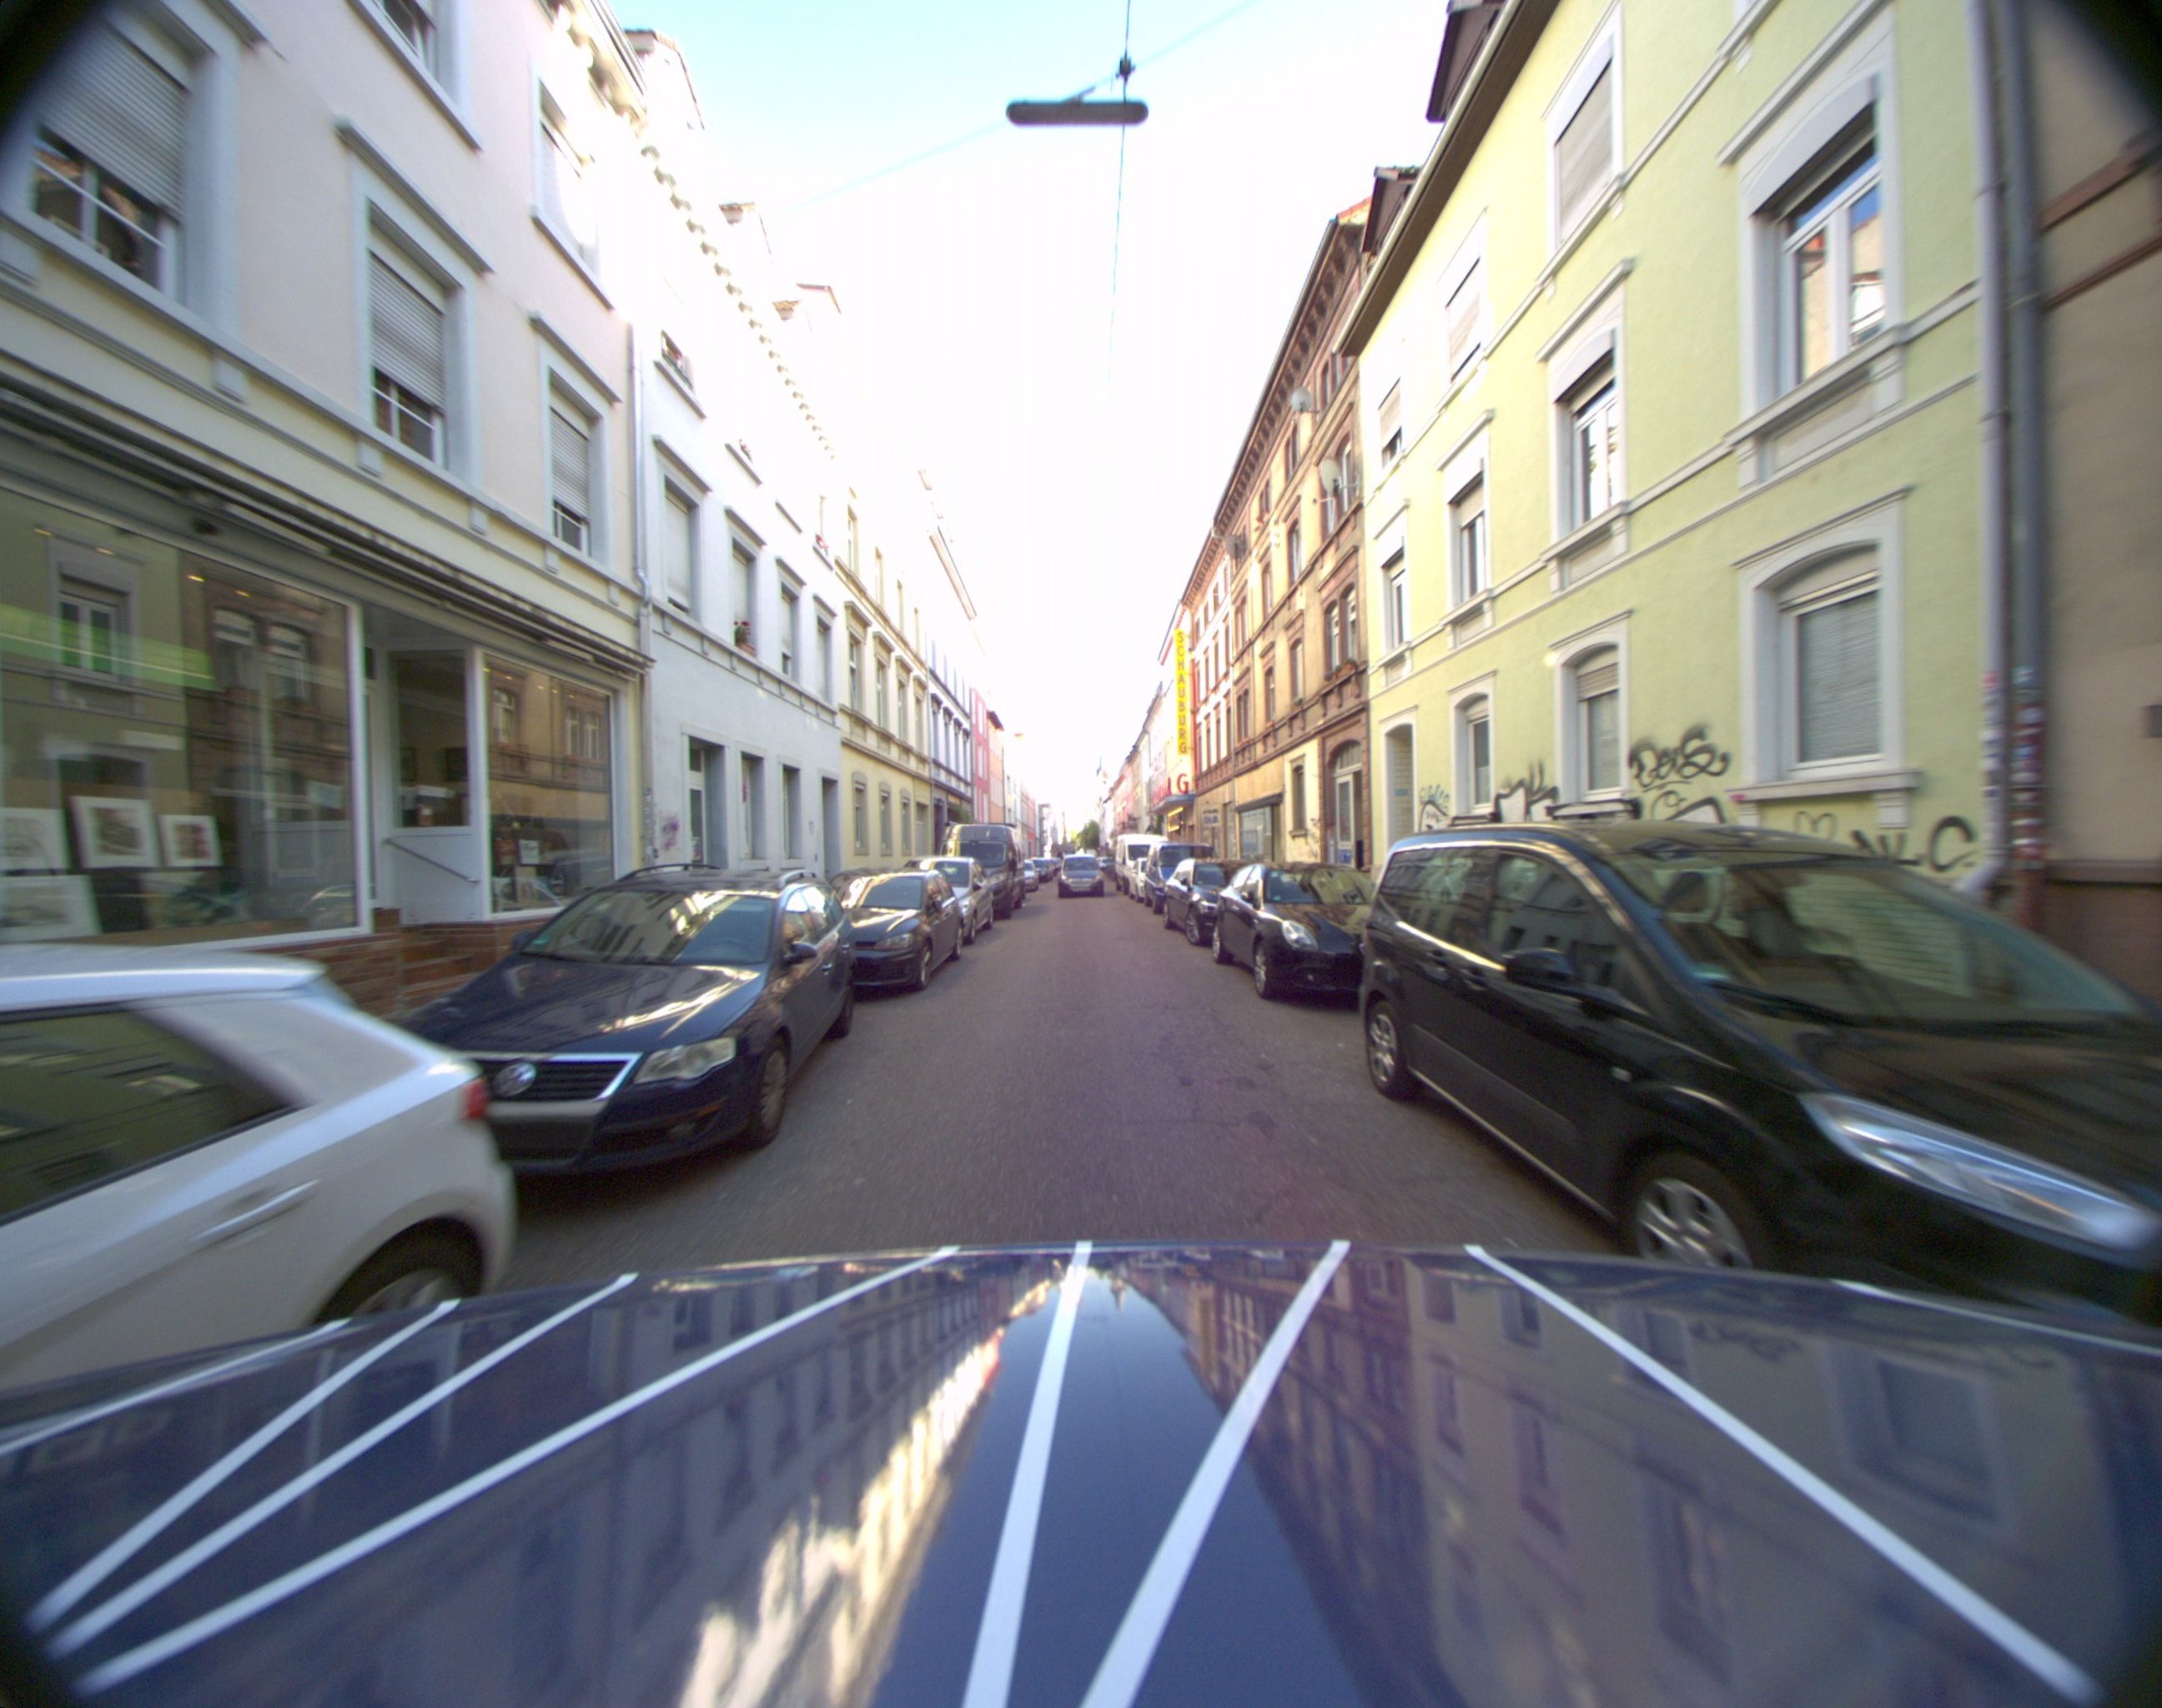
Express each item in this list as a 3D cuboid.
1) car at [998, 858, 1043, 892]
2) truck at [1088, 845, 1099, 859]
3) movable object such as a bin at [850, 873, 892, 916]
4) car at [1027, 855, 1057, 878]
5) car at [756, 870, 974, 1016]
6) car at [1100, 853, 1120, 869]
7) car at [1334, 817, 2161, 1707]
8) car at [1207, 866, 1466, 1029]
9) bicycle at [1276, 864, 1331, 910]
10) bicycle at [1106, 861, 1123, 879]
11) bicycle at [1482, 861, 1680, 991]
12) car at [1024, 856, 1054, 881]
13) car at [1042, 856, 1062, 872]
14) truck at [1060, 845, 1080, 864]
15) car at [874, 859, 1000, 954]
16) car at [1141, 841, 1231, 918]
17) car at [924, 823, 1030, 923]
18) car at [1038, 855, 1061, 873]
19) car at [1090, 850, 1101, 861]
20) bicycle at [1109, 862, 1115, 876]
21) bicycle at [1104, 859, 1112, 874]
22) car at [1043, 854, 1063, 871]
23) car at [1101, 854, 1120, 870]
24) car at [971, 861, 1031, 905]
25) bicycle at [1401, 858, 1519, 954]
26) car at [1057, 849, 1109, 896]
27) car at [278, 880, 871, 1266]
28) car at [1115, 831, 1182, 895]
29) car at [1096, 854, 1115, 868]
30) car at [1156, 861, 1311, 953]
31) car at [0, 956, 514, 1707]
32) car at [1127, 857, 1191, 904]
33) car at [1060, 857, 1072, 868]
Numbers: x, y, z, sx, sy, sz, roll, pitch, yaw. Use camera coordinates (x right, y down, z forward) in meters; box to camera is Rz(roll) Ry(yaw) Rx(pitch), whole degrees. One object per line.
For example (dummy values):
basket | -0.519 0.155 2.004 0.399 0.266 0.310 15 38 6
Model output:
car | -2.823 0.942 36.468 1.791 1.446 4.546 2 0 -1
truck | 2.929 -0.388 181.037 2.524 3.271 6.642 -1 0 1
movable object such as a bin | -5.362 1.020 19.479 0.865 1.036 0.708 2 0 -2
car | -2.700 0.850 53.581 1.750 1.547 4.171 -1 0 1
car | -2.649 1.012 10.384 1.750 1.477 4.242 -1 0 0
car | 2.860 0.655 75.006 1.794 1.443 3.999 -1 0 -1
car | 2.702 0.788 3.310 1.805 1.688 3.999 1 0 0
car | 2.715 0.904 9.073 1.741 1.418 4.000 -1 0 0
bicycle | 5.585 0.811 19.198 0.757 1.015 2.029 -5 0 1
bicycle | 2.058 0.987 46.497 0.462 1.041 1.748 -3 0 -16
bicycle | 5.634 0.729 8.788 0.669 1.238 2.327 -4 0 -1
car | -2.672 0.898 48.744 1.606 1.530 3.450 1 0 1
car | -2.568 0.870 68.616 1.692 1.444 4.193 0 0 -1
truck | -1.735 0.119 118.836 2.819 2.735 7.677 -3 0 -1
car | -2.707 0.917 15.257 1.698 1.598 4.374 1 0 0
car | 2.782 0.627 21.138 1.832 1.881 4.613 1 0 0
car | -2.747 0.453 21.593 2.181 2.411 6.308 0 0 0
car | -2.653 0.813 64.038 1.701 1.514 3.980 0 0 1
car | 2.907 0.274 152.396 1.998 2.002 4.258 -1 0 1
bicycle | 2.174 1.068 53.659 0.391 0.911 1.393 -1 0 1
bicycle | 2.055 0.933 58.631 0.500 1.099 1.829 -2 0 0
car | -2.671 0.791 74.134 1.794 1.542 4.000 -1 0 0
car | 2.720 0.710 69.510 1.684 1.446 4.034 0 0 3
car | -2.895 1.010 28.335 1.752 1.436 4.171 -2 0 0
bicycle | 5.516 0.703 11.220 0.675 1.264 2.086 -2 0 0
car | 0.081 0.669 29.611 1.832 1.650 4.213 -1 0 0
car | -2.756 1.008 5.551 1.817 1.469 4.604 2 -1 -9
car | 2.690 0.324 31.912 2.174 2.437 5.920 0 0 -1
car | 2.564 0.700 80.017 1.792 1.454 4.199 0 0 -1
car | 2.673 0.861 14.456 1.867 1.431 4.644 -1 0 -2
car | -2.584 1.037 0.396 1.729 1.421 3.831 -1 0 -1
car | 2.592 0.860 26.013 1.650 1.438 3.839 -1 0 -2
car | -2.105 1.218 109.172 1.644 1.528 3.842 -1 0 0
